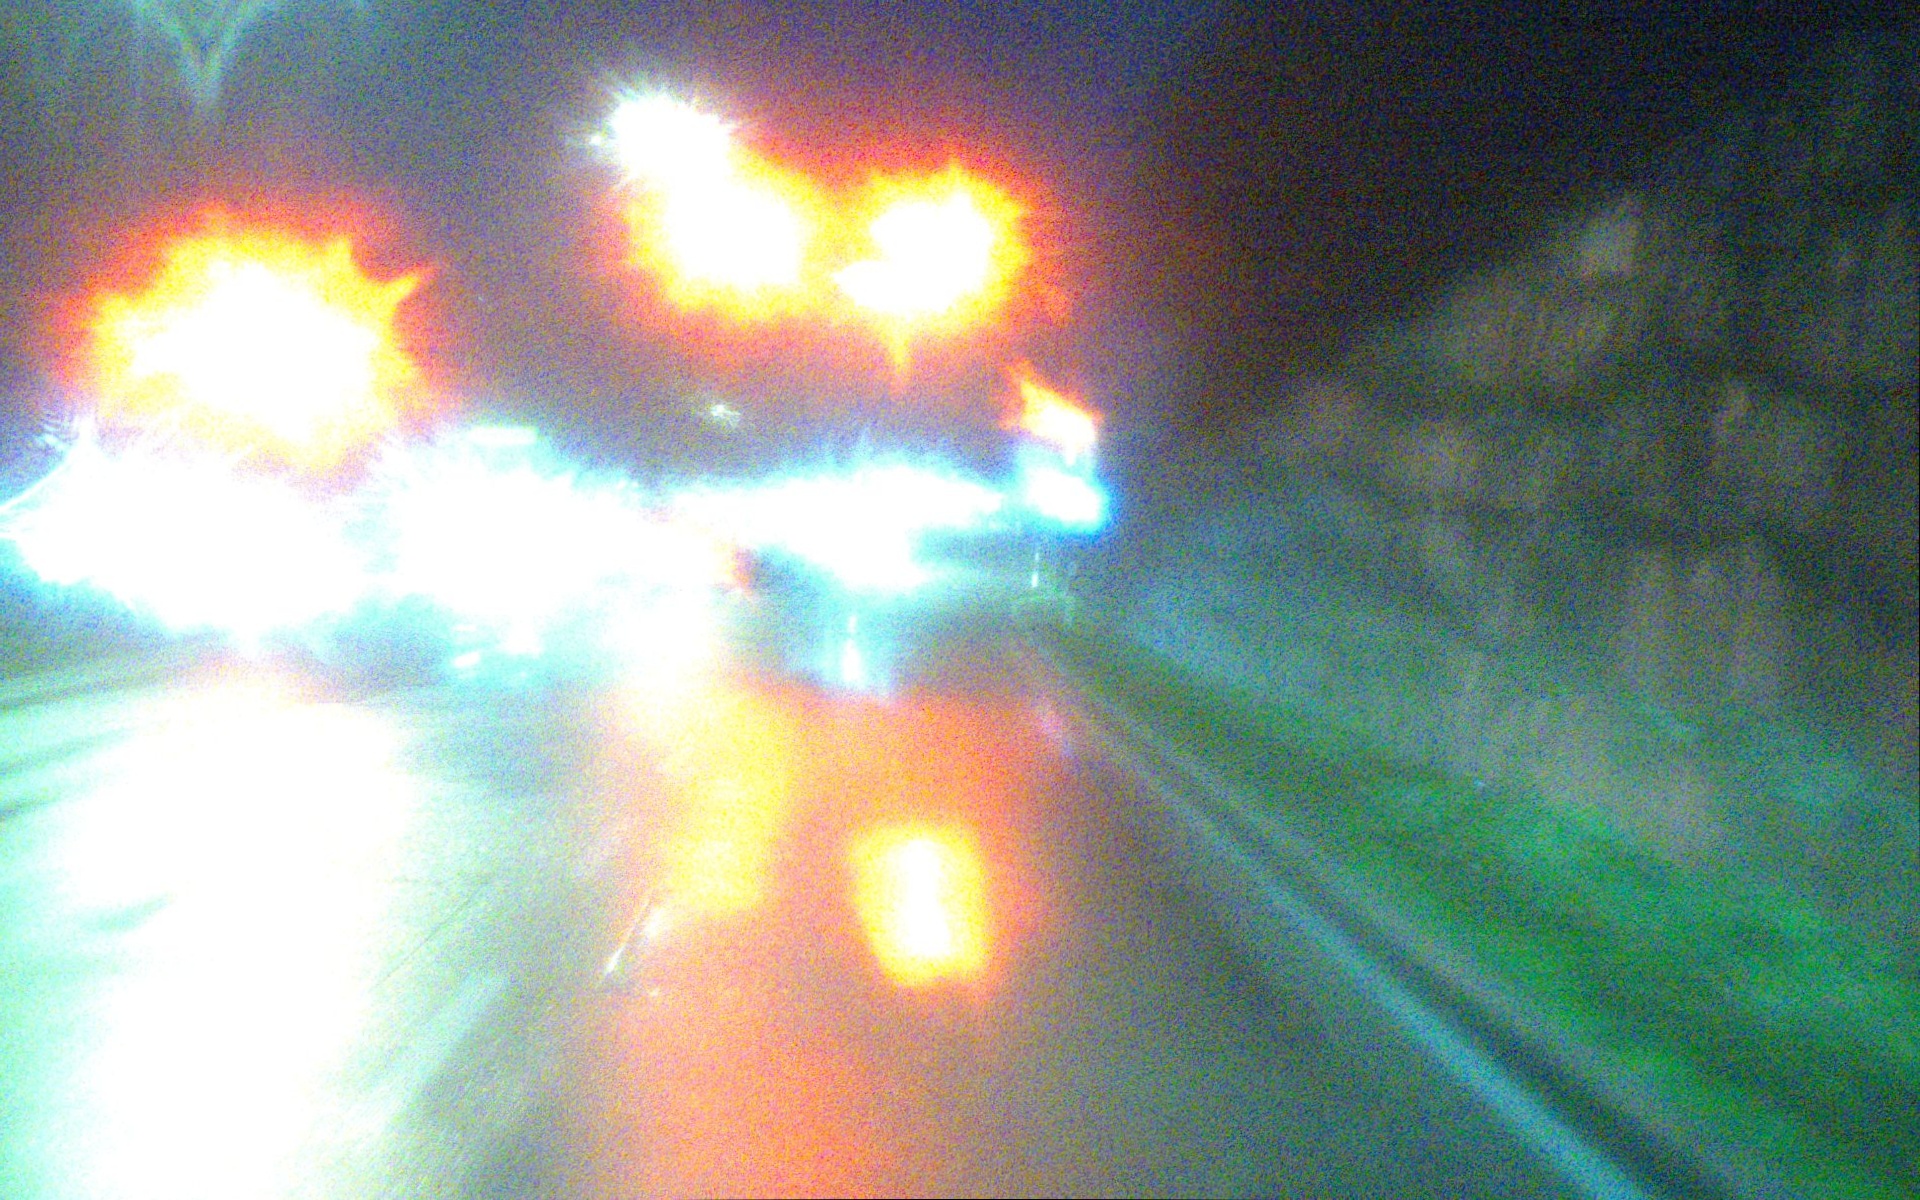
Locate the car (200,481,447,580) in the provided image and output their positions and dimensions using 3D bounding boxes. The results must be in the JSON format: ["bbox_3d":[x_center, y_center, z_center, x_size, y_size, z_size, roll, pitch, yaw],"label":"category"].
[{"bbox_3d":[-11.185,-1.214,60.326,3.986,1.656,2.001,1,1,-19],"label":"car"}]

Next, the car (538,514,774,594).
[{"bbox_3d":[-5.684,-0.858,64.447,3.920,1.424,1.968,0,1,-34],"label":"car"}]

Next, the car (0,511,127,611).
[{"bbox_3d":[-16.562,-0.696,59.309,3.986,1.656,2.000,1,1,-5],"label":"car"}]
